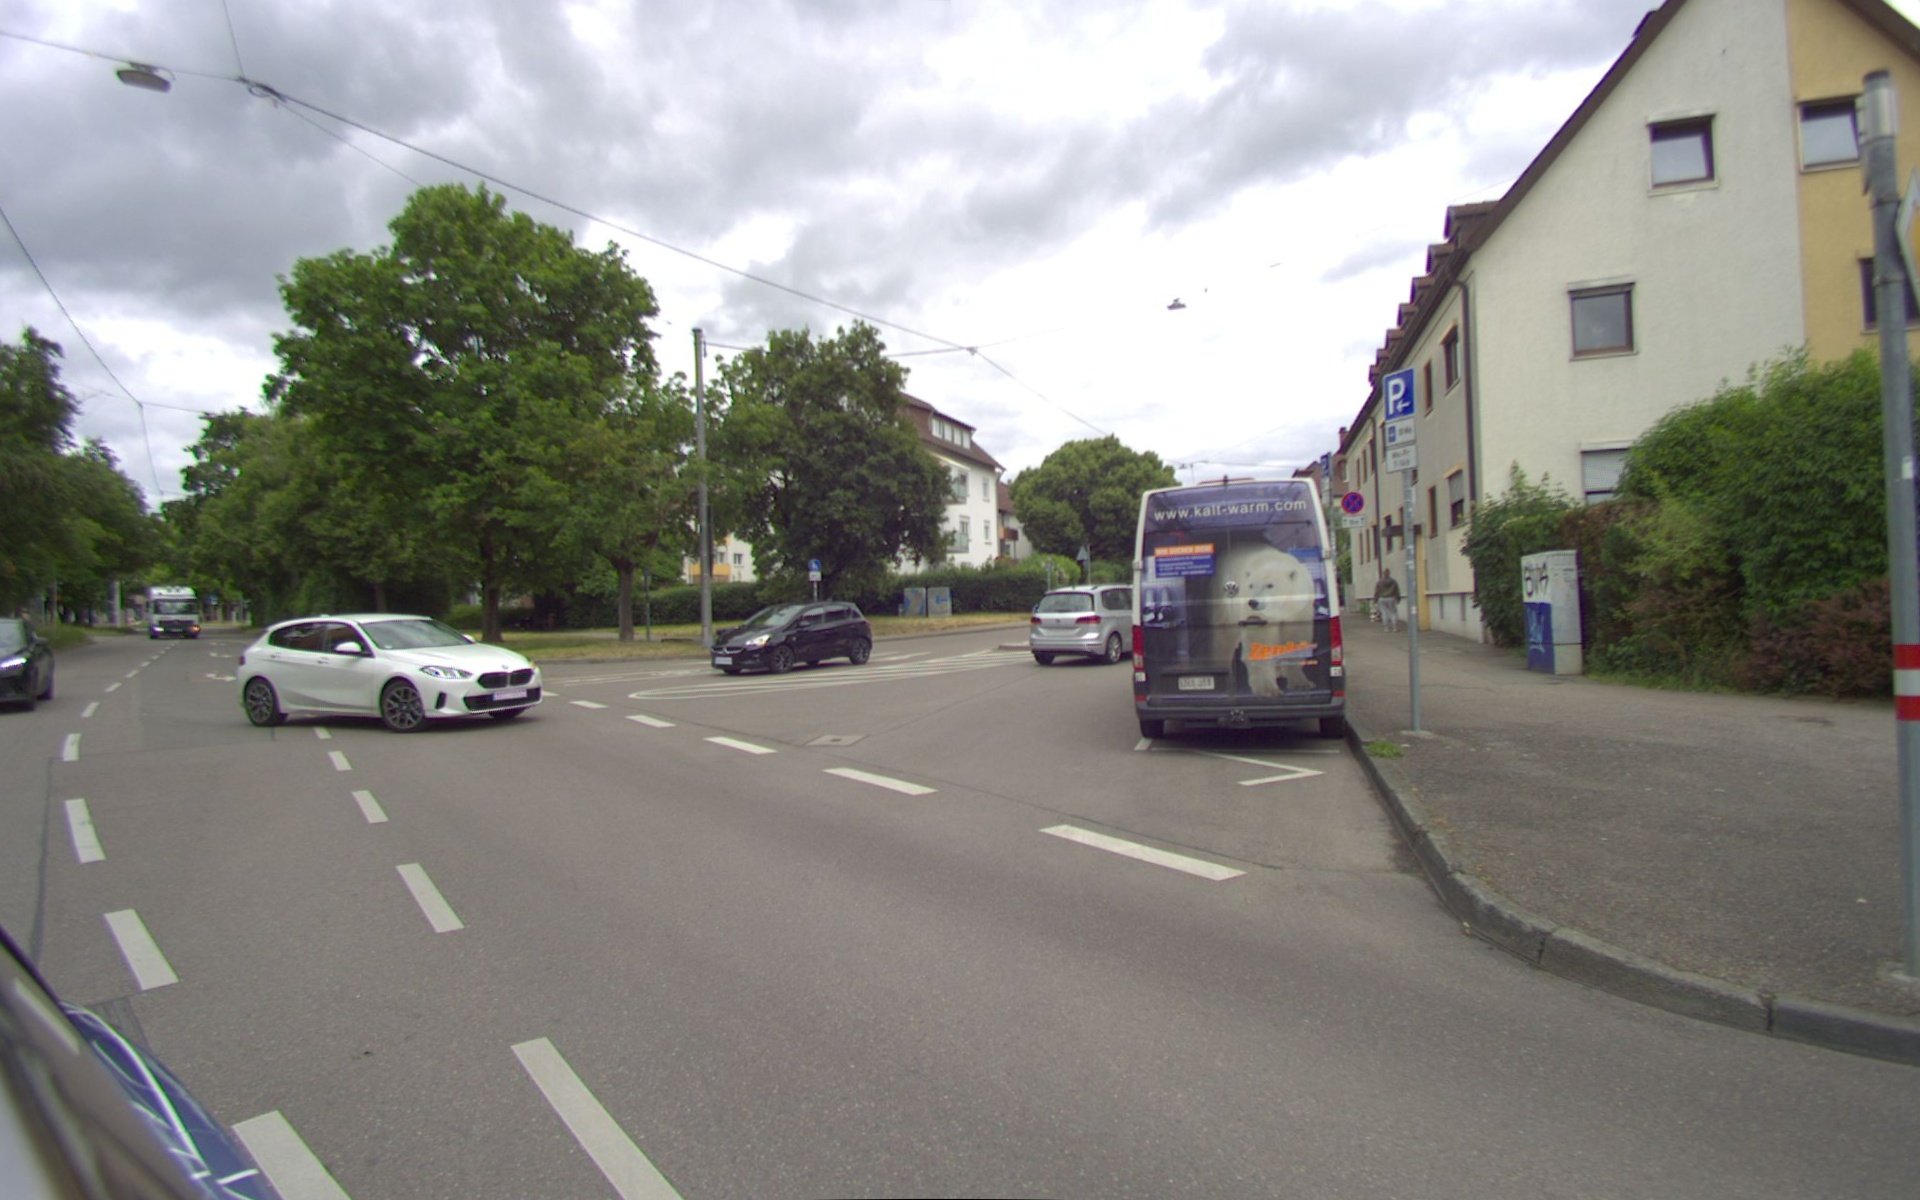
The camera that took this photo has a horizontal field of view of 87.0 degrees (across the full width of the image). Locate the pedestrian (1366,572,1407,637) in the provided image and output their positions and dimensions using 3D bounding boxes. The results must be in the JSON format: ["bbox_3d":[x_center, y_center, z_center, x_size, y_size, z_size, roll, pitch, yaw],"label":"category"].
[{"bbox_3d":[10.616,0.100,25.207,0.742,1.545,0.713,-4,1,14],"label":"pedestrian"}]

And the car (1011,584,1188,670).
[{"bbox_3d":[2.975,0.512,20.967,1.926,1.586,3.950,-2,-1,37],"label":"car"}]

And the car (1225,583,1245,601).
[{"bbox_3d":[26.050,-0.770,95.999,1.725,1.563,3.828,-4,1,15],"label":"car"}]

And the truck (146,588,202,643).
[{"bbox_3d":[-48.648,0.933,62.573,2.400,3.219,6.475,0,-1,-41],"label":"truck"}]

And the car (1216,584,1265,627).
[{"bbox_3d":[10.729,0.161,38.886,1.667,1.545,4.215,0,1,14],"label":"car"}]

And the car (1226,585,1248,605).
[{"bbox_3d":[23.714,-0.441,86.620,1.725,1.563,3.828,-4,1,15],"label":"car"}]

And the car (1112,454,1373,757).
[{"bbox_3d":[3.384,0.029,12.266,2.066,2.541,6.945,-4,0,16],"label":"car"}]

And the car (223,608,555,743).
[{"bbox_3d":[-7.626,0.926,13.476,4.184,1.529,1.786,-1,0,26],"label":"car"}]

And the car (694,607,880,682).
[{"bbox_3d":[-3.639,0.913,21.885,1.640,1.346,3.953,-3,0,35],"label":"car"}]

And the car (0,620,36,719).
[{"bbox_3d":[-16.273,1.069,16.464,1.774,1.495,4.024,1,-2,-42],"label":"car"}]

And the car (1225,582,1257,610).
[{"bbox_3d":[17.965,-0.286,64.584,1.788,1.546,3.869,-4,1,17],"label":"car"}]
